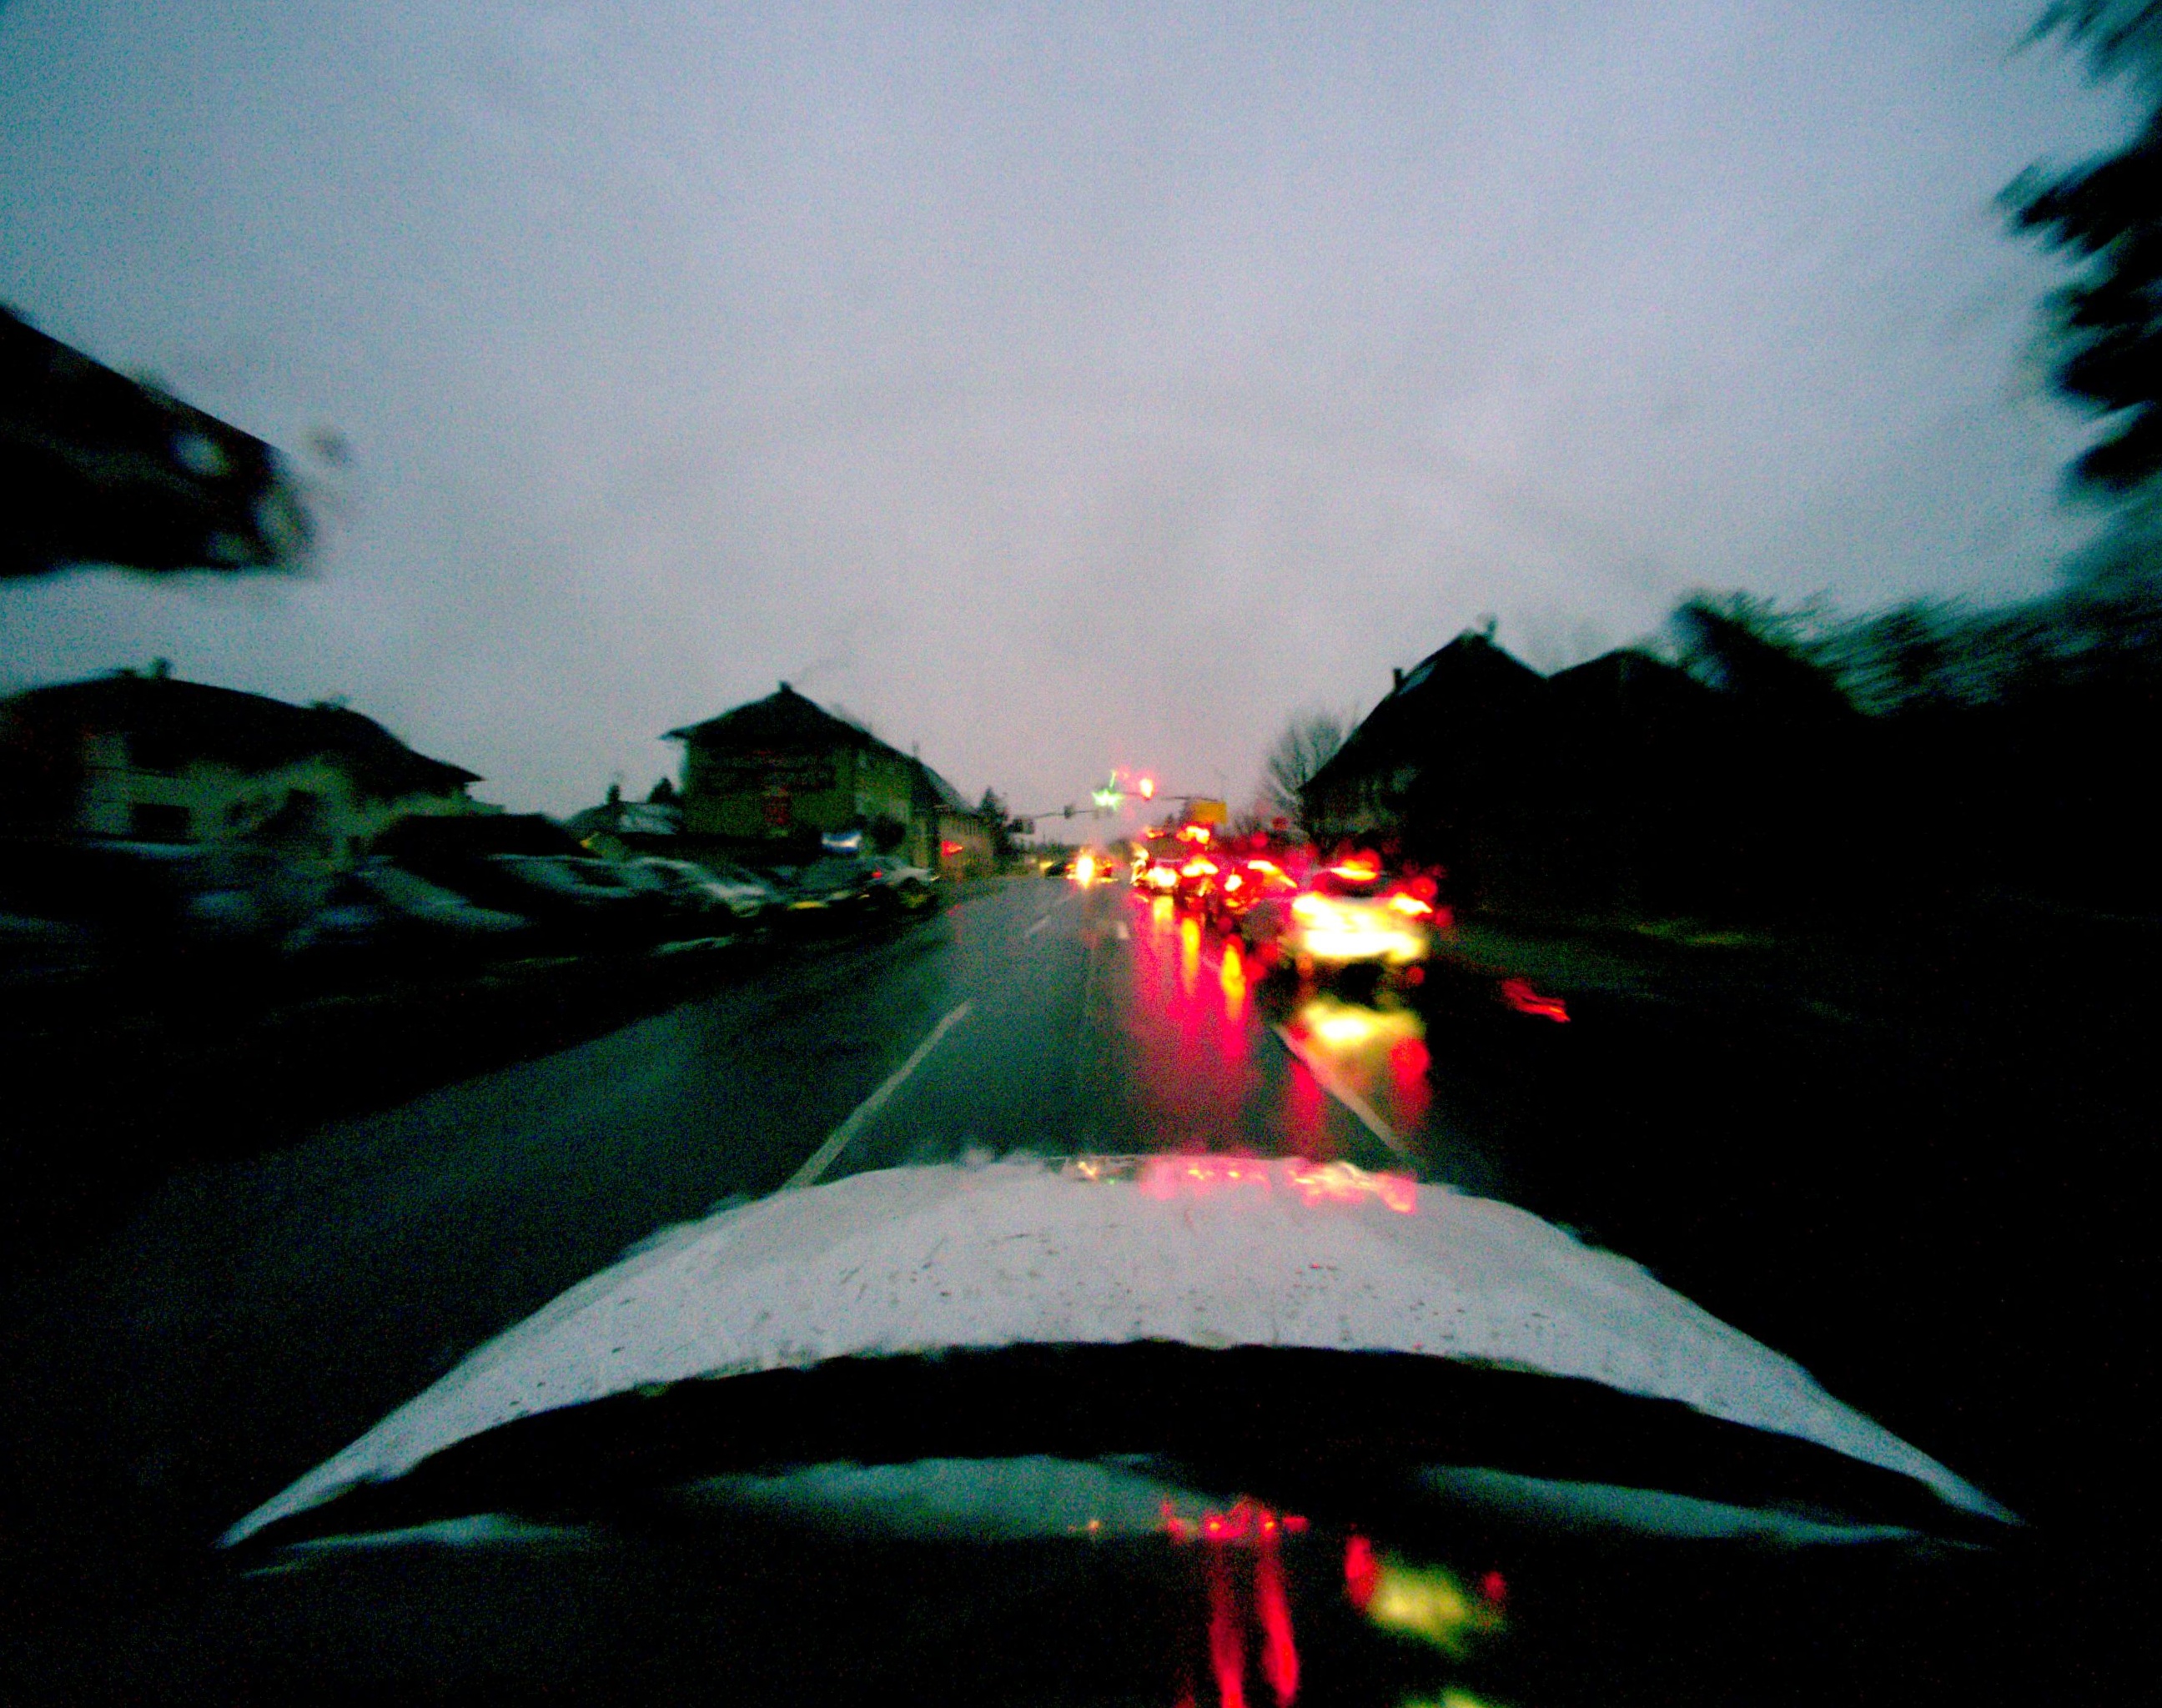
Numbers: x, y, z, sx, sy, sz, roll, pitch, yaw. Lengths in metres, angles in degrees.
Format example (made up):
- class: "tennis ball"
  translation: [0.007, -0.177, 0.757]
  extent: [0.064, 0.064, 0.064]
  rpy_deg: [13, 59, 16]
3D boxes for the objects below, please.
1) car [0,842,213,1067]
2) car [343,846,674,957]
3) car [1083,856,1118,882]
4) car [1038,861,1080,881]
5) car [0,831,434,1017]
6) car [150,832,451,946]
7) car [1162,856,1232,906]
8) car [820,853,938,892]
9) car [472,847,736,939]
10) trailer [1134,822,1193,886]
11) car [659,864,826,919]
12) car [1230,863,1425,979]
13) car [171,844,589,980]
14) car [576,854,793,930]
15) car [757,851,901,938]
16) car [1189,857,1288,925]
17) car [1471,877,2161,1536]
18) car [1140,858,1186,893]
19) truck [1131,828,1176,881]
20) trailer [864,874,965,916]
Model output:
- class: "car"
  translation: [-10.319, 0.718, 6.654]
  extent: [4.261, 1.662, 2.001]
  rpy_deg: [2, 0, 1]
- class: "car"
  translation: [-9.915, 0.775, 14.393]
  extent: [4.261, 1.662, 2.137]
  rpy_deg: [2, 0, 1]
- class: "car"
  translation: [1.233, 0.958, 53.202]
  extent: [2.041, 1.573, 4.700]
  rpy_deg: [-2, 0, -2]
- class: "car"
  translation: [-1.706, 1.307, 63.328]
  extent: [3.211, 1.508, 1.546]
  rpy_deg: [0, 0, -5]
- class: "car"
  translation: [-10.322, 0.689, 9.258]
  extent: [4.261, 1.763, 2.001]
  rpy_deg: [2, 0, 1]
- class: "car"
  translation: [-14.879, 0.612, 15.913]
  extent: [1.987, 1.904, 4.000]
  rpy_deg: [-1, 0, 1]
- class: "car"
  translation: [3.854, 0.866, 27.815]
  extent: [1.830, 1.568, 4.504]
  rpy_deg: [0, 0, 1]
- class: "car"
  translation: [-9.723, 0.905, 39.522]
  extent: [5.168, 1.791, 2.001]
  rpy_deg: [-1, -1, 2]
- class: "car"
  translation: [-9.828, 0.771, 17.056]
  extent: [4.261, 1.662, 2.001]
  rpy_deg: [2, 0, 1]
- class: "trailer"
  translation: [4.554, 0.035, 47.039]
  extent: [2.479, 3.241, 10.869]
  rpy_deg: [0, 0, 1]
- class: "car"
  translation: [-9.334, 1.007, 22.628]
  extent: [3.879, 1.428, 1.720]
  rpy_deg: [0, -1, 2]
- class: "car"
  translation: [3.322, 0.821, 11.832]
  extent: [1.647, 1.336, 4.273]
  rpy_deg: [0, 0, 2]
- class: "car"
  translation: [-9.917, 0.766, 11.812]
  extent: [4.261, 1.662, 2.001]
  rpy_deg: [2, 0, 1]
- class: "car"
  translation: [-9.586, 0.889, 19.978]
  extent: [4.261, 1.627, 2.001]
  rpy_deg: [2, 0, 1]
- class: "car"
  translation: [-5.974, 0.888, 19.947]
  extent: [1.963, 1.830, 4.514]
  rpy_deg: [-2, 0, 1]
- class: "car"
  translation: [3.721, 0.814, 19.915]
  extent: [1.695, 1.471, 4.273]
  rpy_deg: [0, 0, 1]
- class: "car"
  translation: [3.218, 0.816, 2.763]
  extent: [1.634, 1.366, 4.771]
  rpy_deg: [0, 0, 2]
- class: "car"
  translation: [3.545, 0.893, 35.630]
  extent: [1.656, 1.439, 4.382]
  rpy_deg: [0, 0, 1]
- class: "truck"
  translation: [4.630, 0.072, 53.032]
  extent: [2.453, 3.230, 6.273]
  rpy_deg: [0, 0, 1]
- class: "trailer"
  translation: [-5.453, 1.307, 27.637]
  extent: [1.986, 1.039, 6.106]
  rpy_deg: [-2, 0, 1]
